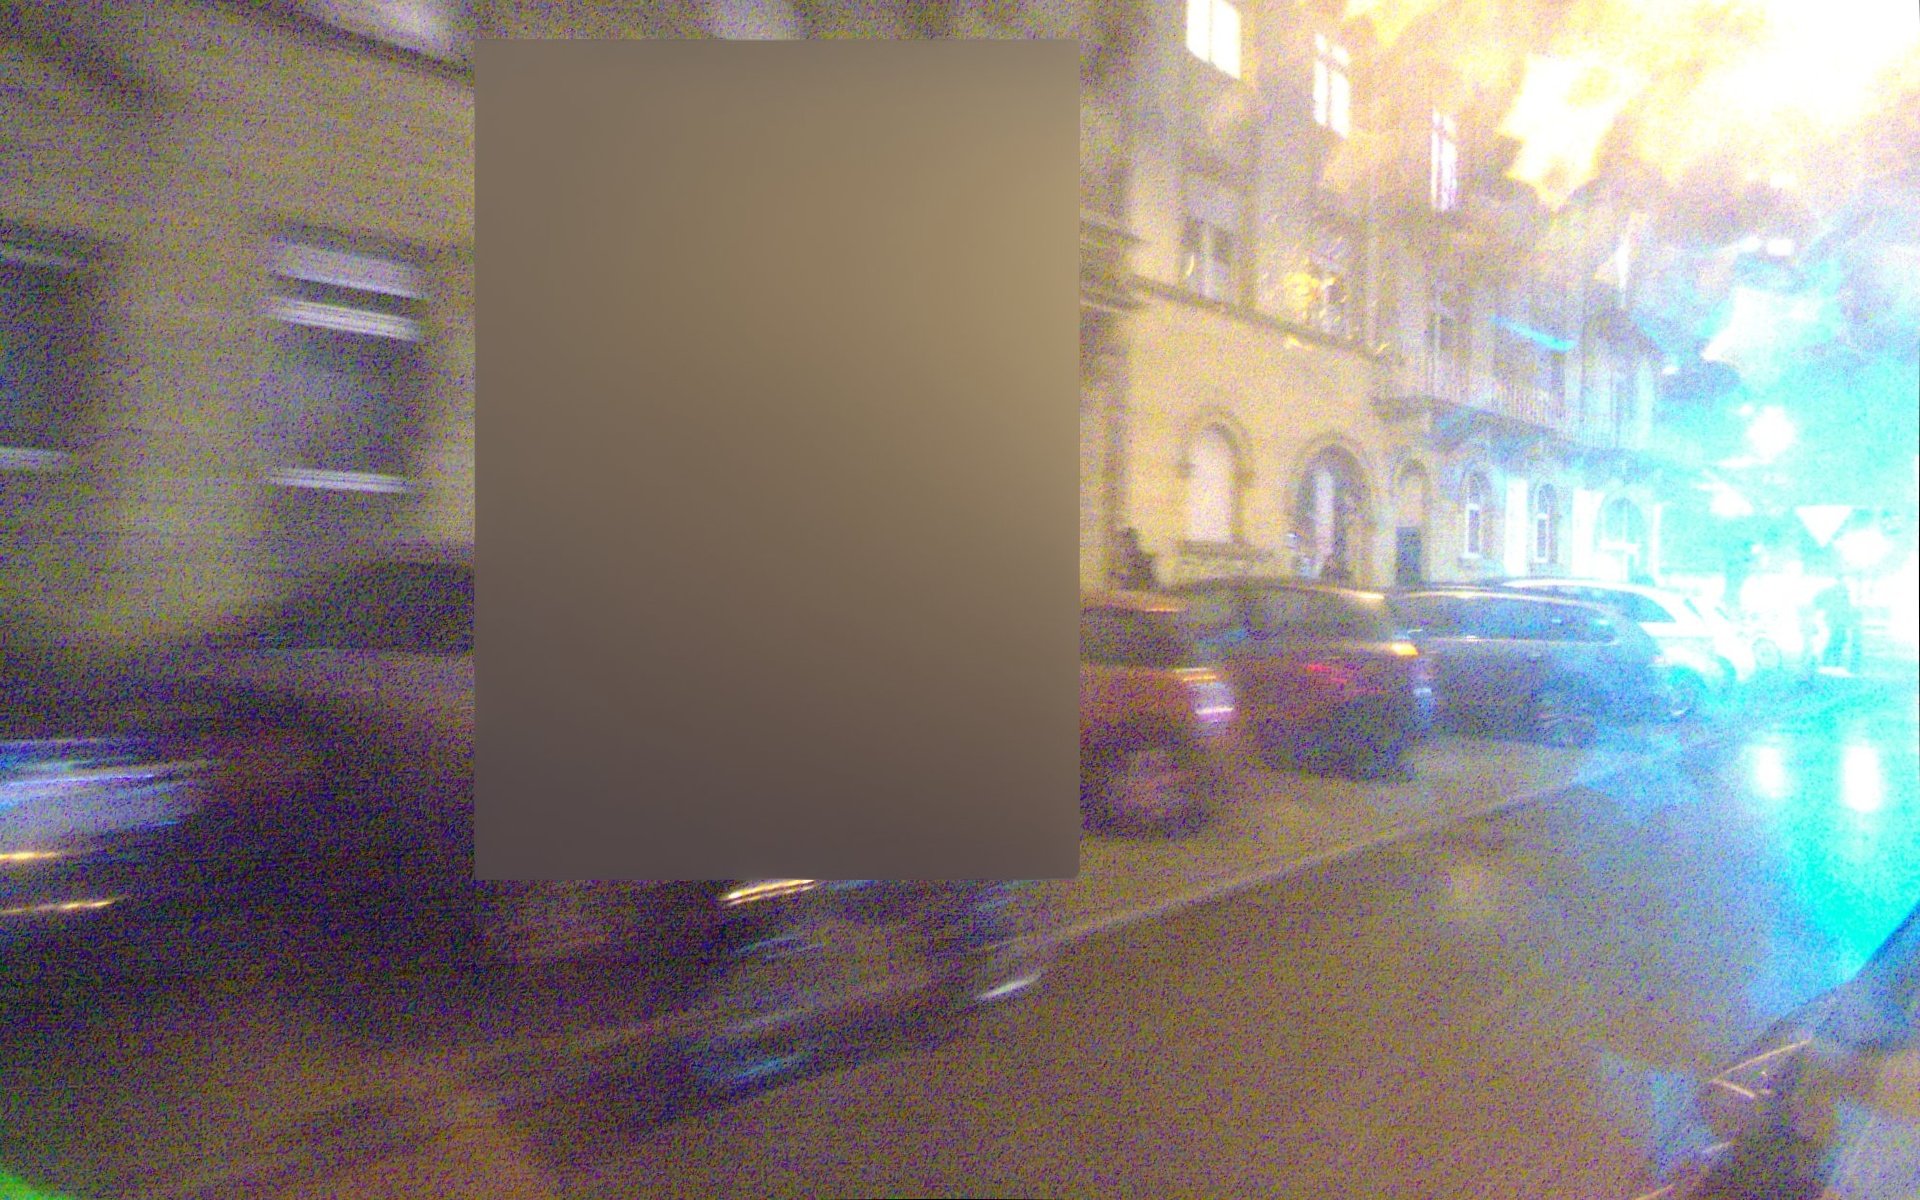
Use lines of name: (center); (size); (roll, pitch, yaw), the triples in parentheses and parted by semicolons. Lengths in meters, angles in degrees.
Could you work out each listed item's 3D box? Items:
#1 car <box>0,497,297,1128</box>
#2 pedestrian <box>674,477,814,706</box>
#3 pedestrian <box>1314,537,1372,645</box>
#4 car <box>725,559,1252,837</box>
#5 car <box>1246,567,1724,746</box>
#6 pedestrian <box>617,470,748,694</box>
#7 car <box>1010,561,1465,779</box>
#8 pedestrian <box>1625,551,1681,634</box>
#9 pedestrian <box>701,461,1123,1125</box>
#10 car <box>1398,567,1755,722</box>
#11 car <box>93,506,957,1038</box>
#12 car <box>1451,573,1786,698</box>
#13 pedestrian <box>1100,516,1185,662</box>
car: (-4.002, 0.504, 3.006); (3.347, 1.580, 1.588); (1, 1, 15)
pedestrian: (-1.877, -0.073, 8.788); (0.855, 1.864, 0.747); (3, 0, -40)
pedestrian: (6.138, -0.141, 16.231); (0.590, 1.685, 0.575); (3, 0, -40)
car: (0.260, 0.528, 7.051); (3.348, 1.580, 1.631); (1, 1, 15)
car: (5.129, 0.480, 10.477); (4.054, 1.510, 1.588); (2, 2, 14)
pedestrian: (-2.538, -0.155, 9.250); (0.827, 1.928, 0.747); (3, 0, -40)
car: (2.303, 0.478, 8.754); (3.436, 1.580, 1.628); (1, 1, 18)
pedestrian: (16.518, -0.178, 24.120); (0.868, 1.930, 0.806); (3, 1, -40)
pedestrian: (-0.153, 0.509, 3.417); (1.156, 1.792, 0.824); (0, 1, -39)
car: (7.361, 0.462, 12.439); (3.348, 1.612, 1.587); (2, 2, 15)
car: (-2.101, 0.480, 4.886); (3.763, 1.710, 1.820); (2, 2, 25)
car: (9.086, 0.427, 14.284); (3.546, 1.580, 1.705); (1, 1, 13)
pedestrian: (2.350, -0.133, 13.044); (0.769, 1.812, 0.657); (3, 0, -40)
